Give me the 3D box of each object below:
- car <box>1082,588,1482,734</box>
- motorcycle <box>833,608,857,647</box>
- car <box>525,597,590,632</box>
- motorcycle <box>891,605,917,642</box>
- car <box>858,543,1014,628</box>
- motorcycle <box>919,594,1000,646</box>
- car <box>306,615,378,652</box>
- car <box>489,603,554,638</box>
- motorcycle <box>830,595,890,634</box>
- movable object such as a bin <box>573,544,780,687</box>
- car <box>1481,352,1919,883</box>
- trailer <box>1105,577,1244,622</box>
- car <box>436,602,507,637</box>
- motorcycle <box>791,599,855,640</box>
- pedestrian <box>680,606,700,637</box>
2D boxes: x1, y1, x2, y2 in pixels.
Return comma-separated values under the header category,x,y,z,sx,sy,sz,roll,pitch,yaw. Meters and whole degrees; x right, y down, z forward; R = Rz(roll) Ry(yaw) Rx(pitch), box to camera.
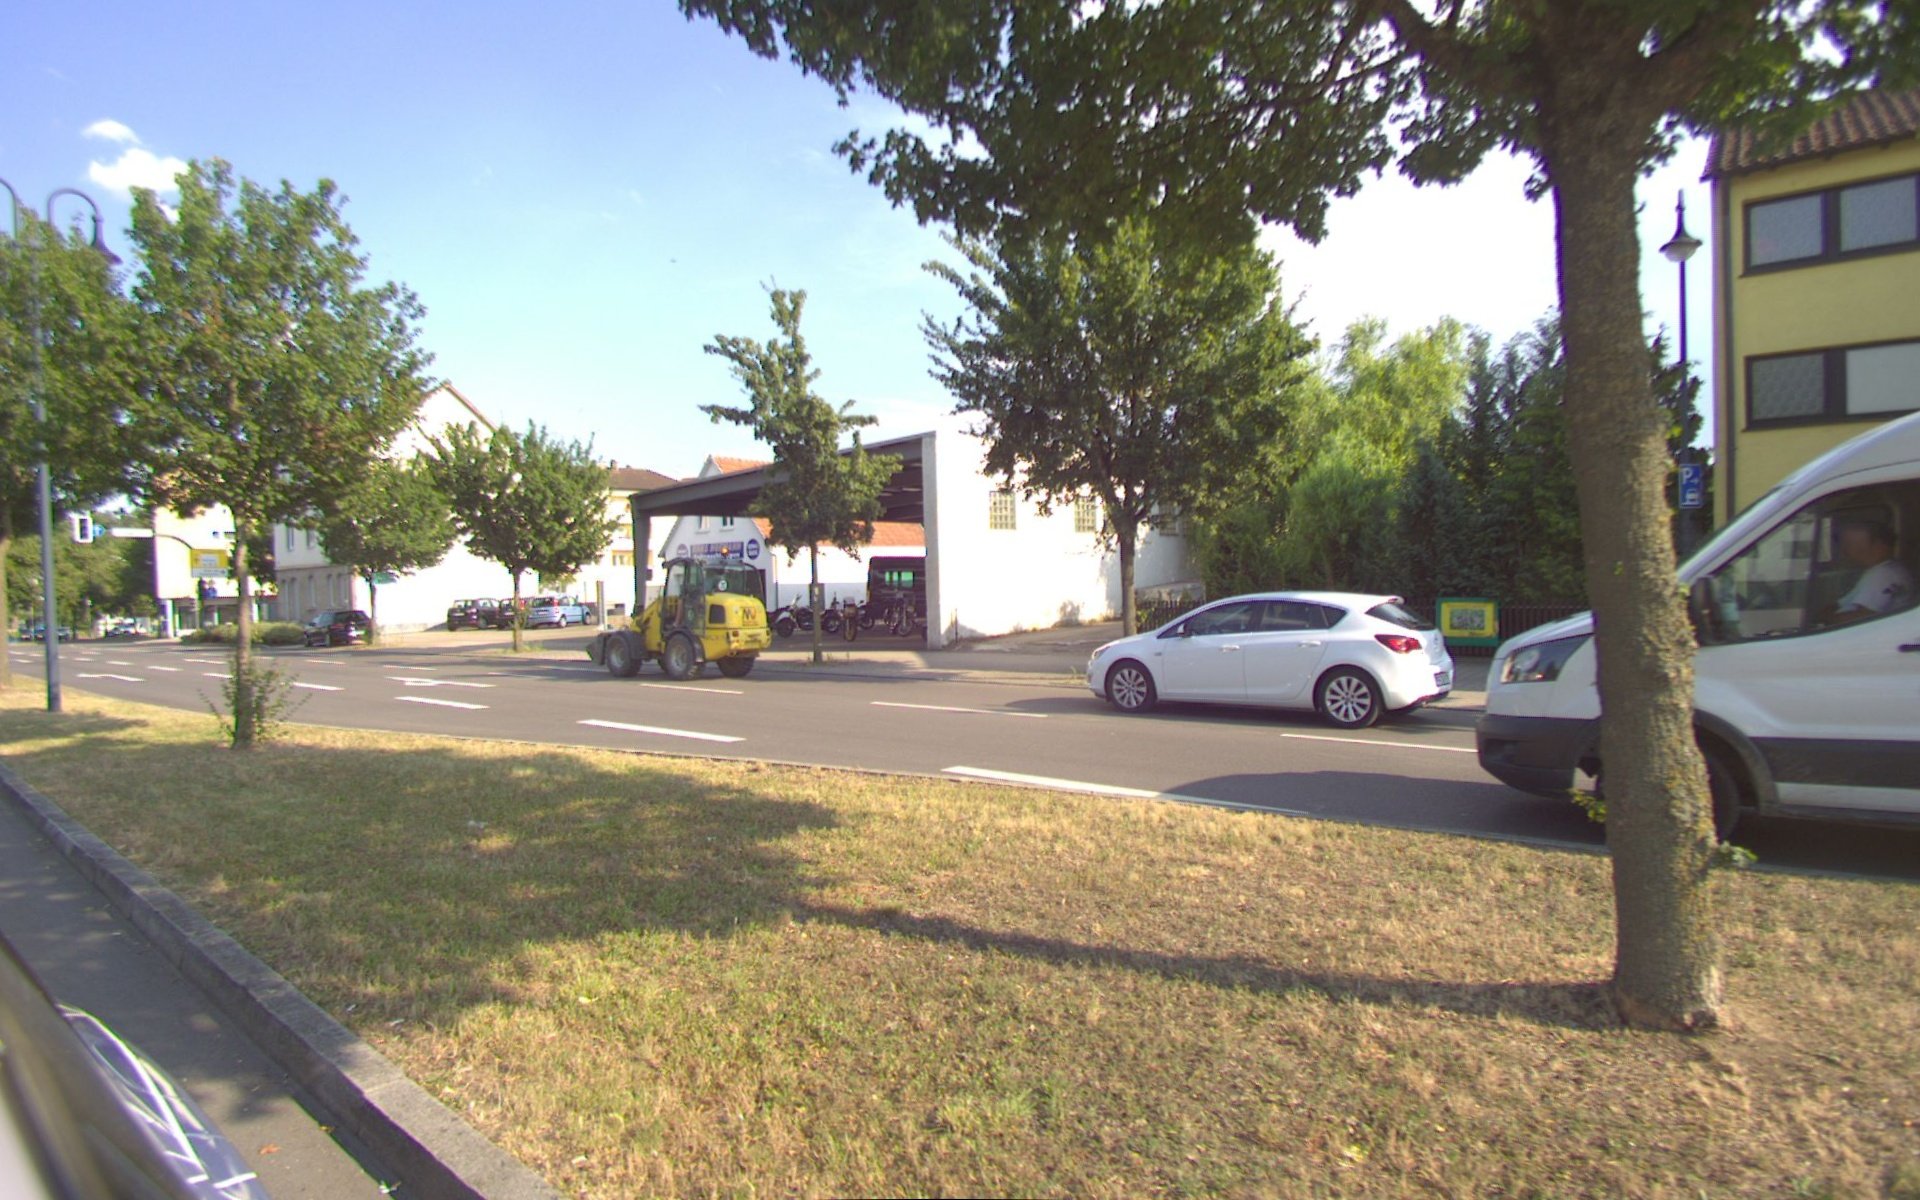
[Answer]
category,x,y,z,sx,sy,sz,roll,pitch,yaw
car,3.670,0.629,12.034,4.213,1.424,1.673,-1,0,42
motorcycle,-3.435,0.805,30.159,0.542,1.107,2.052,-2,0,-10
car,-18.788,0.658,47.383,1.599,1.555,3.429,-1,0,2
motorcycle,-1.769,0.714,31.842,0.542,1.107,2.052,-2,0,-10
car,-0.887,-0.540,39.863,5.733,2.982,2.670,-2,0,8
motorcycle,-0.023,0.529,27.175,2.074,1.310,0.523,-2,0,14
car,-25.516,1.339,41.732,3.432,1.327,1.650,-1,3,44
car,-21.090,0.949,48.812,1.566,1.576,3.430,-1,0,2
motorcycle,-3.632,0.530,36.784,2.089,1.332,0.488,-2,0,0
movable object such as a bin,-5.699,0.305,19.926,4.977,2.480,1.536,-1,-1,43
car,5.838,0.053,5.037,5.470,2.494,2.065,-1,0,38
trailer,6.141,-0.025,28.997,3.312,1.121,2.174,-3,1,-34
car,-23.632,0.918,49.071,1.835,1.638,3.411,-1,0,-1
motorcycle,-4.709,0.665,34.848,2.094,1.332,0.487,-2,0,9
pedestrian,-11.952,0.928,44.781,0.583,1.350,0.589,-1,0,33
